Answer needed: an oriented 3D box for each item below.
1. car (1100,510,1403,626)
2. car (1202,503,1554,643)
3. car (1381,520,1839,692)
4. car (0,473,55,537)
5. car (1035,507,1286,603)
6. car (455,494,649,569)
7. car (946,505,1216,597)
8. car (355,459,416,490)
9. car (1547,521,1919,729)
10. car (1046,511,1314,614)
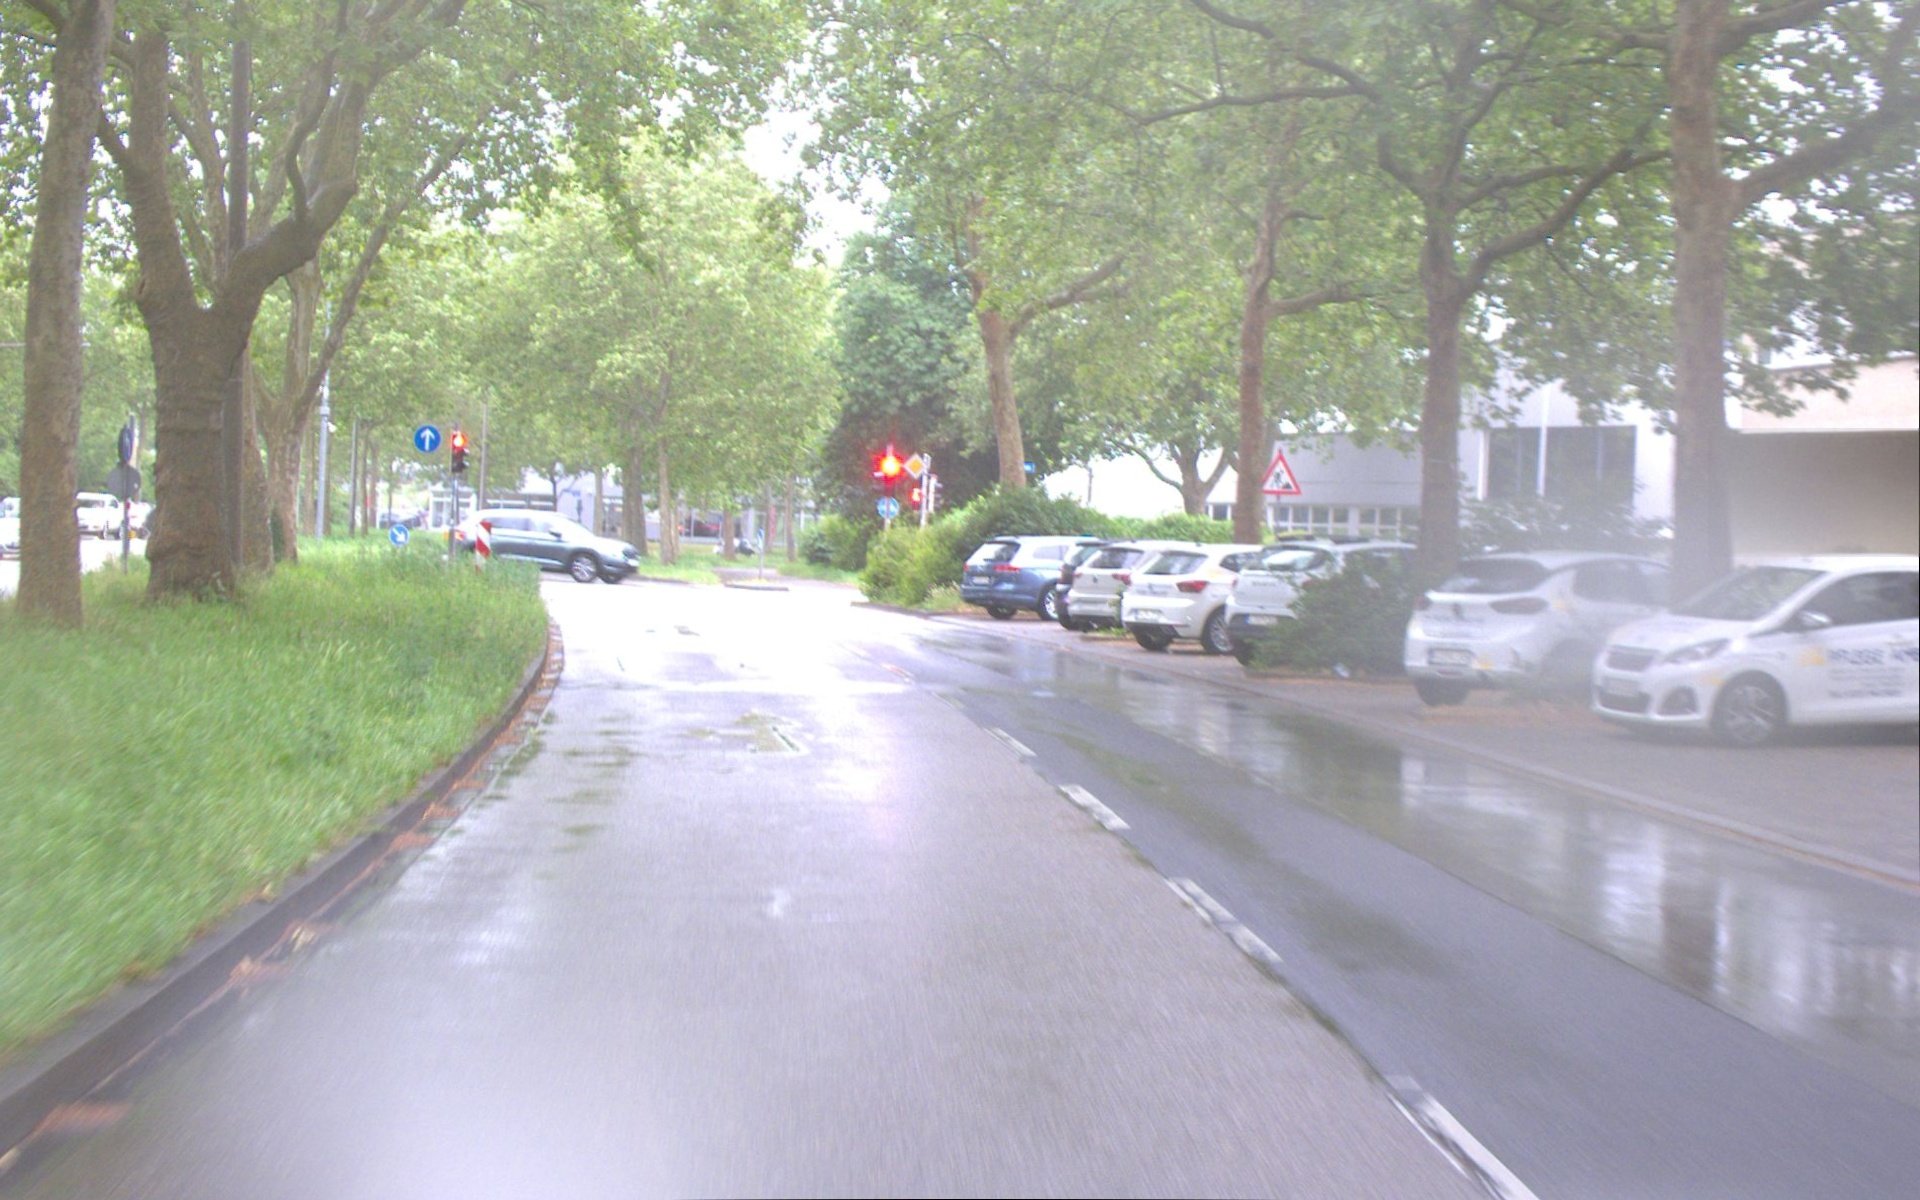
[{"bbox_3d":[3.902,-0.425,45.958,3.680,1.411,1.749,1,2,-32],"label":"car"},{"bbox_3d":[4.990,-0.311,40.837,4.026,1.534,1.749,1,2,-37],"label":"car"},{"bbox_3d":[5.954,0.056,31.329,4.025,1.423,1.749,1,2,-36],"label":"car"},{"bbox_3d":[-24.776,-2.523,90.161,1.743,1.586,4.332,2,2,-11],"label":"car"},{"bbox_3d":[3.209,-0.714,54.759,3.681,1.411,1.749,1,2,-36],"label":"car"},{"bbox_3d":[-9.897,-1.672,83.487,4.294,1.644,1.748,2,2,11],"label":"car"},{"bbox_3d":[2.147,-0.856,60.483,4.481,1.453,1.749,1,2,-32],"label":"car"},{"bbox_3d":[-41.639,-9.102,249.147,3.985,2.007,2.001,2,0,-19],"label":"car"},{"bbox_3d":[6.714,0.190,27.192,3.634,1.499,1.750,1,3,-20],"label":"car"},{"bbox_3d":[3.311,-0.553,51.478,3.681,1.411,1.775,1,2,-36],"label":"car"}]
